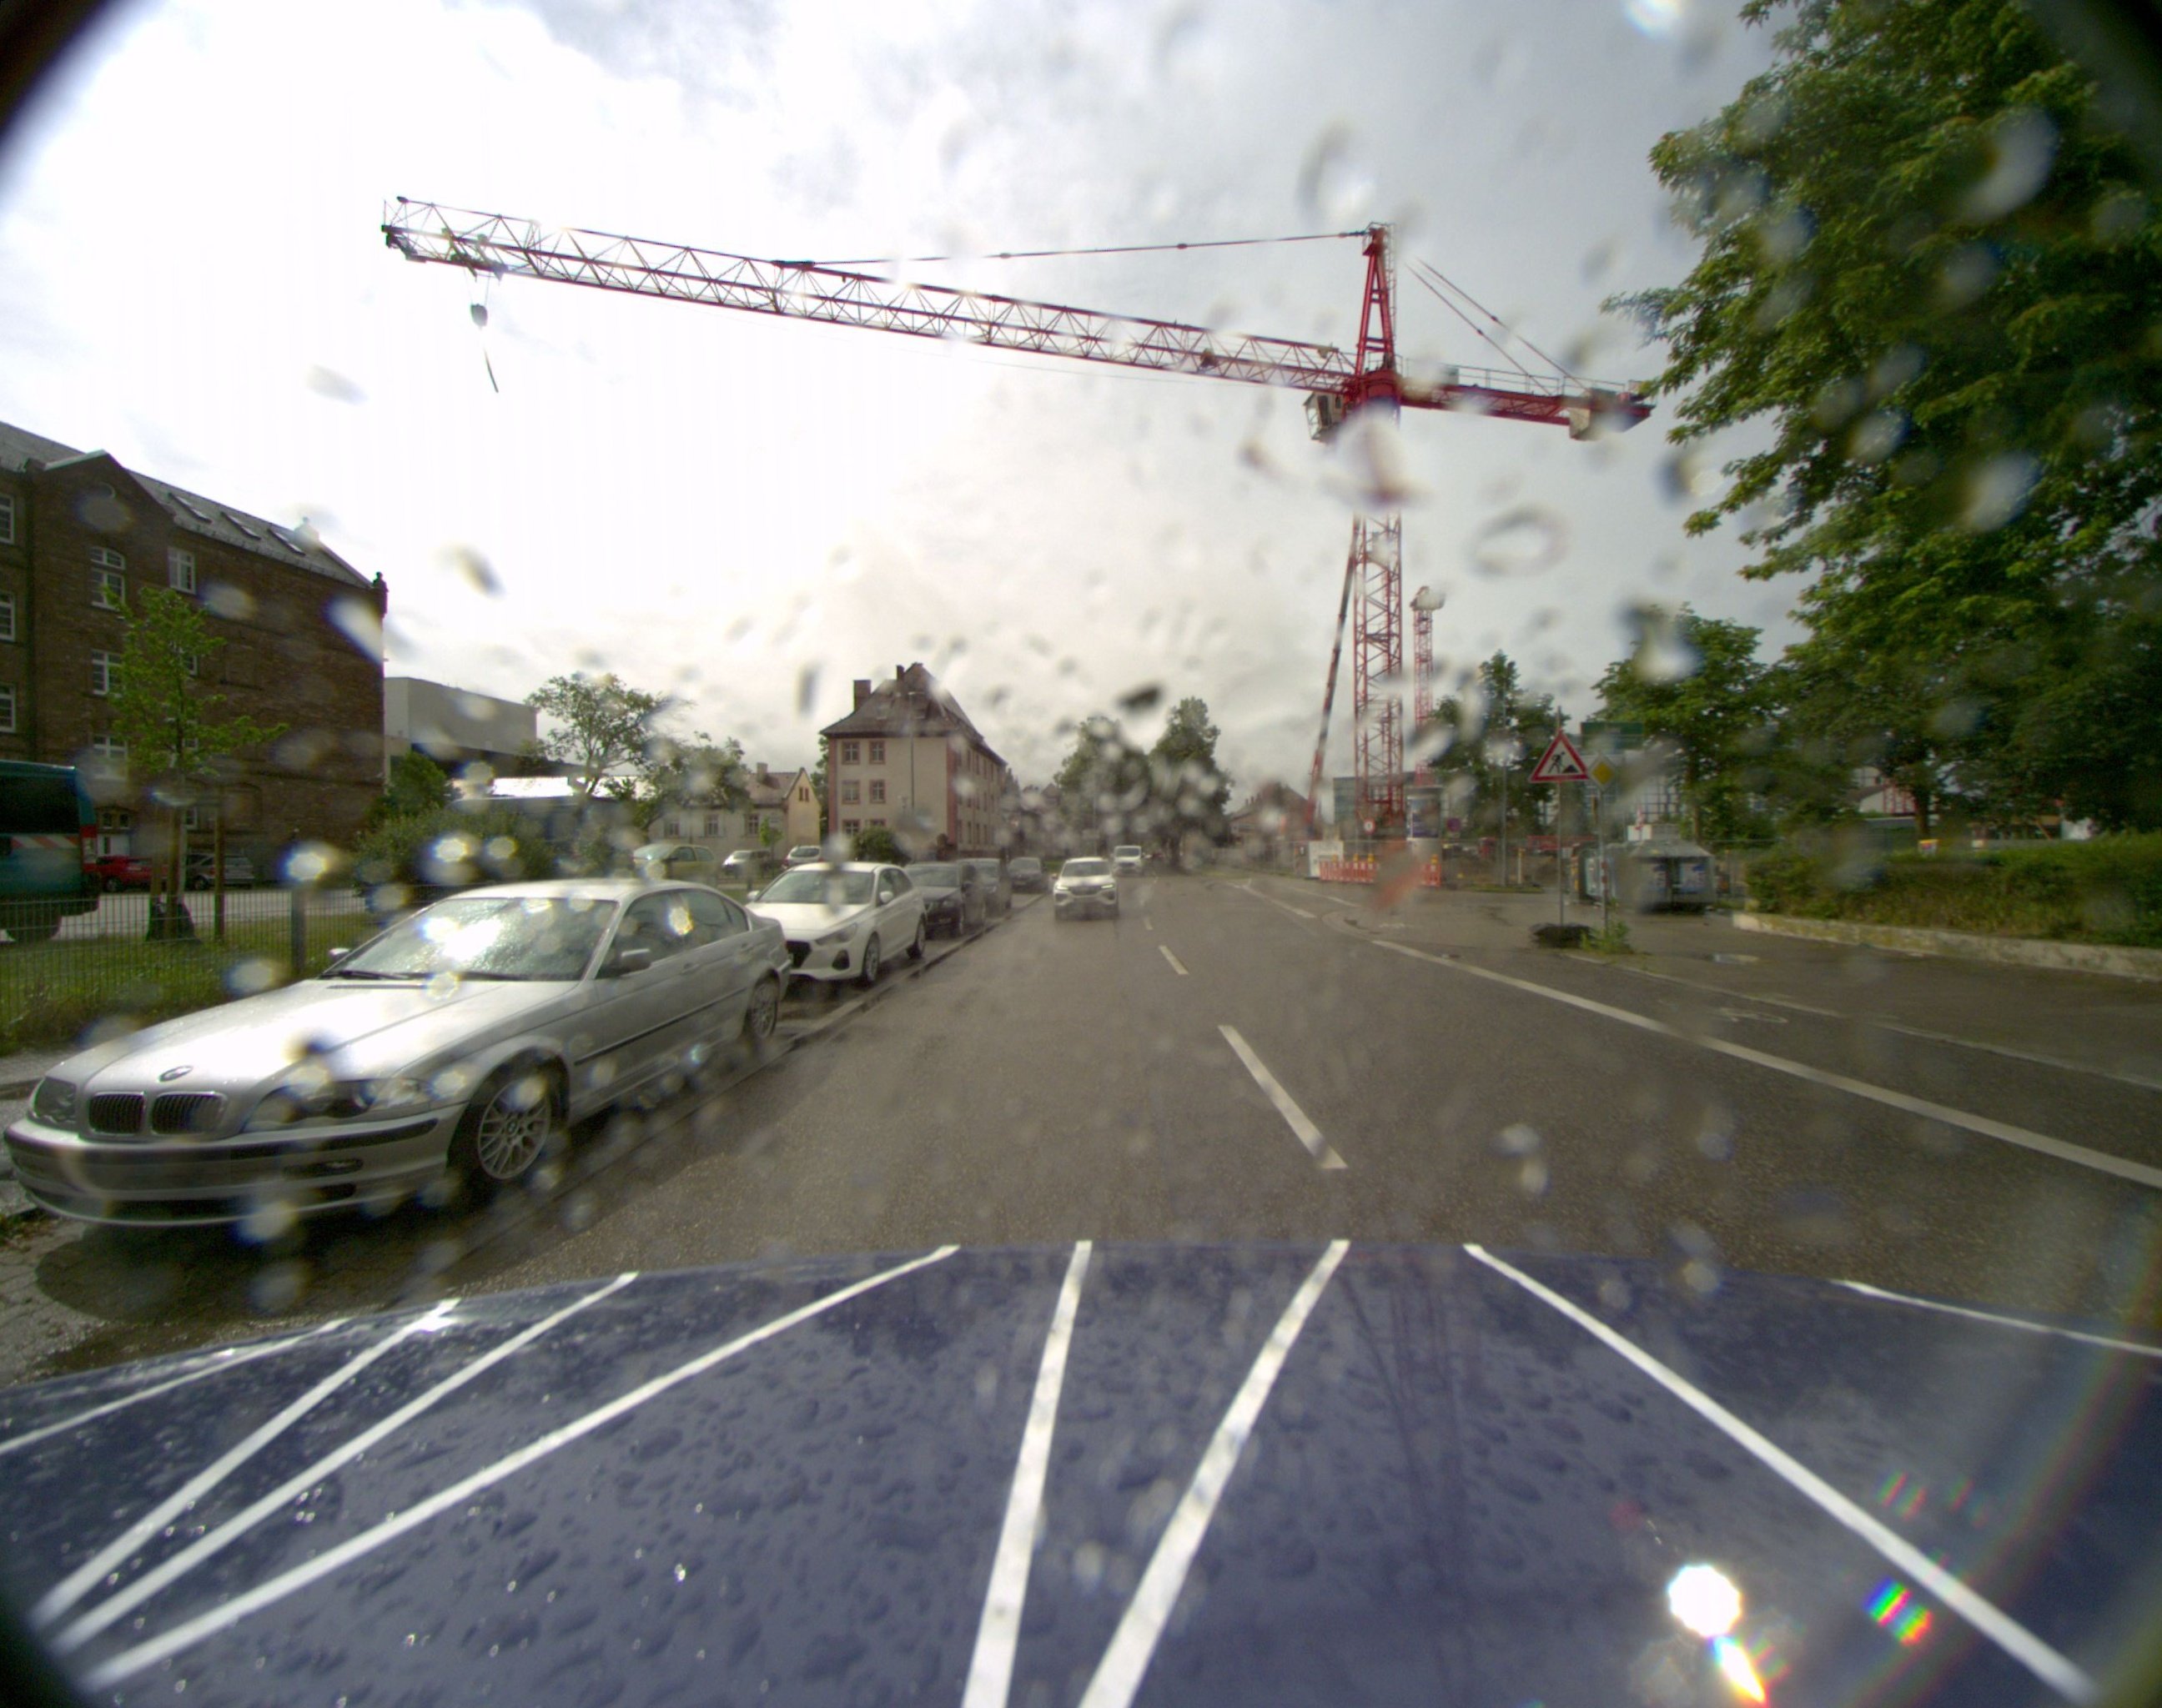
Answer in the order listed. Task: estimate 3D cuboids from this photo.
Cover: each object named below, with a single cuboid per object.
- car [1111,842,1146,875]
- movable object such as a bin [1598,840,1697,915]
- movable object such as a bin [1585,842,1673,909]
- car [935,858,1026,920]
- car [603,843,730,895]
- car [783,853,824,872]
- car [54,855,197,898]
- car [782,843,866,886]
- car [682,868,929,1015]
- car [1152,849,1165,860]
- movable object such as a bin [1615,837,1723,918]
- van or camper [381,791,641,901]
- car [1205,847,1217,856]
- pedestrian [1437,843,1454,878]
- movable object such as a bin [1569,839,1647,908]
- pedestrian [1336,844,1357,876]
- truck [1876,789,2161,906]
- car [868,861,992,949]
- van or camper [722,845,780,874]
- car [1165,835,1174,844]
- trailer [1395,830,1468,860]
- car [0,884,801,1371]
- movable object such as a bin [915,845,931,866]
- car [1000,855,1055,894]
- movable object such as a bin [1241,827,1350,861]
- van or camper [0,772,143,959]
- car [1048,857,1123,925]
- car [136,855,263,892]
[{"bbox_3d":[3.130,0.239,50.986,2.107,1.990,5.434,-3,1,2],"label":"car"},{"bbox_3d":[13.327,0.521,17.967,1.539,1.664,1.668,0,0,24],"label":"movable object such as a bin"},{"bbox_3d":[13.990,0.528,19.481,1.539,1.646,1.530,0,0,24],"label":"movable object such as a bin"},{"bbox_3d":[-2.765,0.920,21.711,1.760,1.519,4.001,1,1,4],"label":"car"},{"bbox_3d":[-12.250,0.403,22.690,1.613,1.440,3.418,0,0,7],"label":"car"},{"bbox_3d":[-21.824,0.657,59.869,1.598,1.438,3.576,1,0,6],"label":"car"},{"bbox_3d":[-36.763,0.853,29.284,3.674,1.478,1.673,-2,0,6],"label":"car"},{"bbox_3d":[-10.982,0.403,32.800,1.807,1.740,4.240,0,0,7],"label":"car"},{"bbox_3d":[-3.364,0.977,10.199,1.753,1.499,4.112,-1,0,1],"label":"car"},{"bbox_3d":[12.198,0.063,119.773,1.844,1.598,4.001,-2,0,6],"label":"car"},{"bbox_3d":[12.698,0.490,16.495,1.539,1.652,1.461,0,0,24],"label":"movable object such as a bin"},{"bbox_3d":[-14.198,-0.183,19.131,5.008,2.540,2.175,-1,2,6],"label":"van or camper"},{"bbox_3d":[23.668,-0.413,138.412,1.693,1.521,4.000,-3,1,2],"label":"car"},{"bbox_3d":[16.535,0.291,34.451,0.619,1.610,0.550,1,1,20],"label":"pedestrian"},{"bbox_3d":[14.409,0.512,20.856,1.539,1.813,1.265,0,0,24],"label":"movable object such as a bin"},{"bbox_3d":[13.767,0.322,39.342,0.725,1.620,0.682,-4,2,-33],"label":"pedestrian"},{"bbox_3d":[30.738,-0.185,22.125,9.823,3.166,3.797,0,1,18],"label":"truck"},{"bbox_3d":[-3.042,0.958,16.092,1.608,1.499,4.160,2,1,2],"label":"car"},{"bbox_3d":[-25.832,0.401,59.739,1.792,2.104,5.188,-2,0,6],"label":"van or camper"},{"bbox_3d":[17.056,-2.773,146.514,1.817,1.531,3.984,1,0,6],"label":"car"},{"bbox_3d":[42.668,-1.165,93.270,2.967,3.214,14.311,-4,1,4],"label":"trailer"},{"bbox_3d":[-3.421,1.034,4.733,1.720,1.444,4.259,-2,0,0],"label":"car"},{"bbox_3d":[-11.188,0.099,53.931,0.801,1.448,1.097,1,1,6],"label":"movable object such as a bin"},{"bbox_3d":[-2.254,0.831,32.979,1.778,1.531,4.379,2,0,3],"label":"car"},{"bbox_3d":[33.278,-1.579,118.499,15.937,4.532,3.102,-2,1,7],"label":"movable object such as a bin"},{"bbox_3d":[-14.611,0.157,8.954,4.768,2.119,2.323,-1,0,8],"label":"van or camper"},{"bbox_3d":[0.216,0.878,19.835,1.608,1.499,4.001,-2,1,4],"label":"car"},{"bbox_3d":[-36.915,0.794,31.877,3.674,1.515,1.673,0,1,6],"label":"car"}]
